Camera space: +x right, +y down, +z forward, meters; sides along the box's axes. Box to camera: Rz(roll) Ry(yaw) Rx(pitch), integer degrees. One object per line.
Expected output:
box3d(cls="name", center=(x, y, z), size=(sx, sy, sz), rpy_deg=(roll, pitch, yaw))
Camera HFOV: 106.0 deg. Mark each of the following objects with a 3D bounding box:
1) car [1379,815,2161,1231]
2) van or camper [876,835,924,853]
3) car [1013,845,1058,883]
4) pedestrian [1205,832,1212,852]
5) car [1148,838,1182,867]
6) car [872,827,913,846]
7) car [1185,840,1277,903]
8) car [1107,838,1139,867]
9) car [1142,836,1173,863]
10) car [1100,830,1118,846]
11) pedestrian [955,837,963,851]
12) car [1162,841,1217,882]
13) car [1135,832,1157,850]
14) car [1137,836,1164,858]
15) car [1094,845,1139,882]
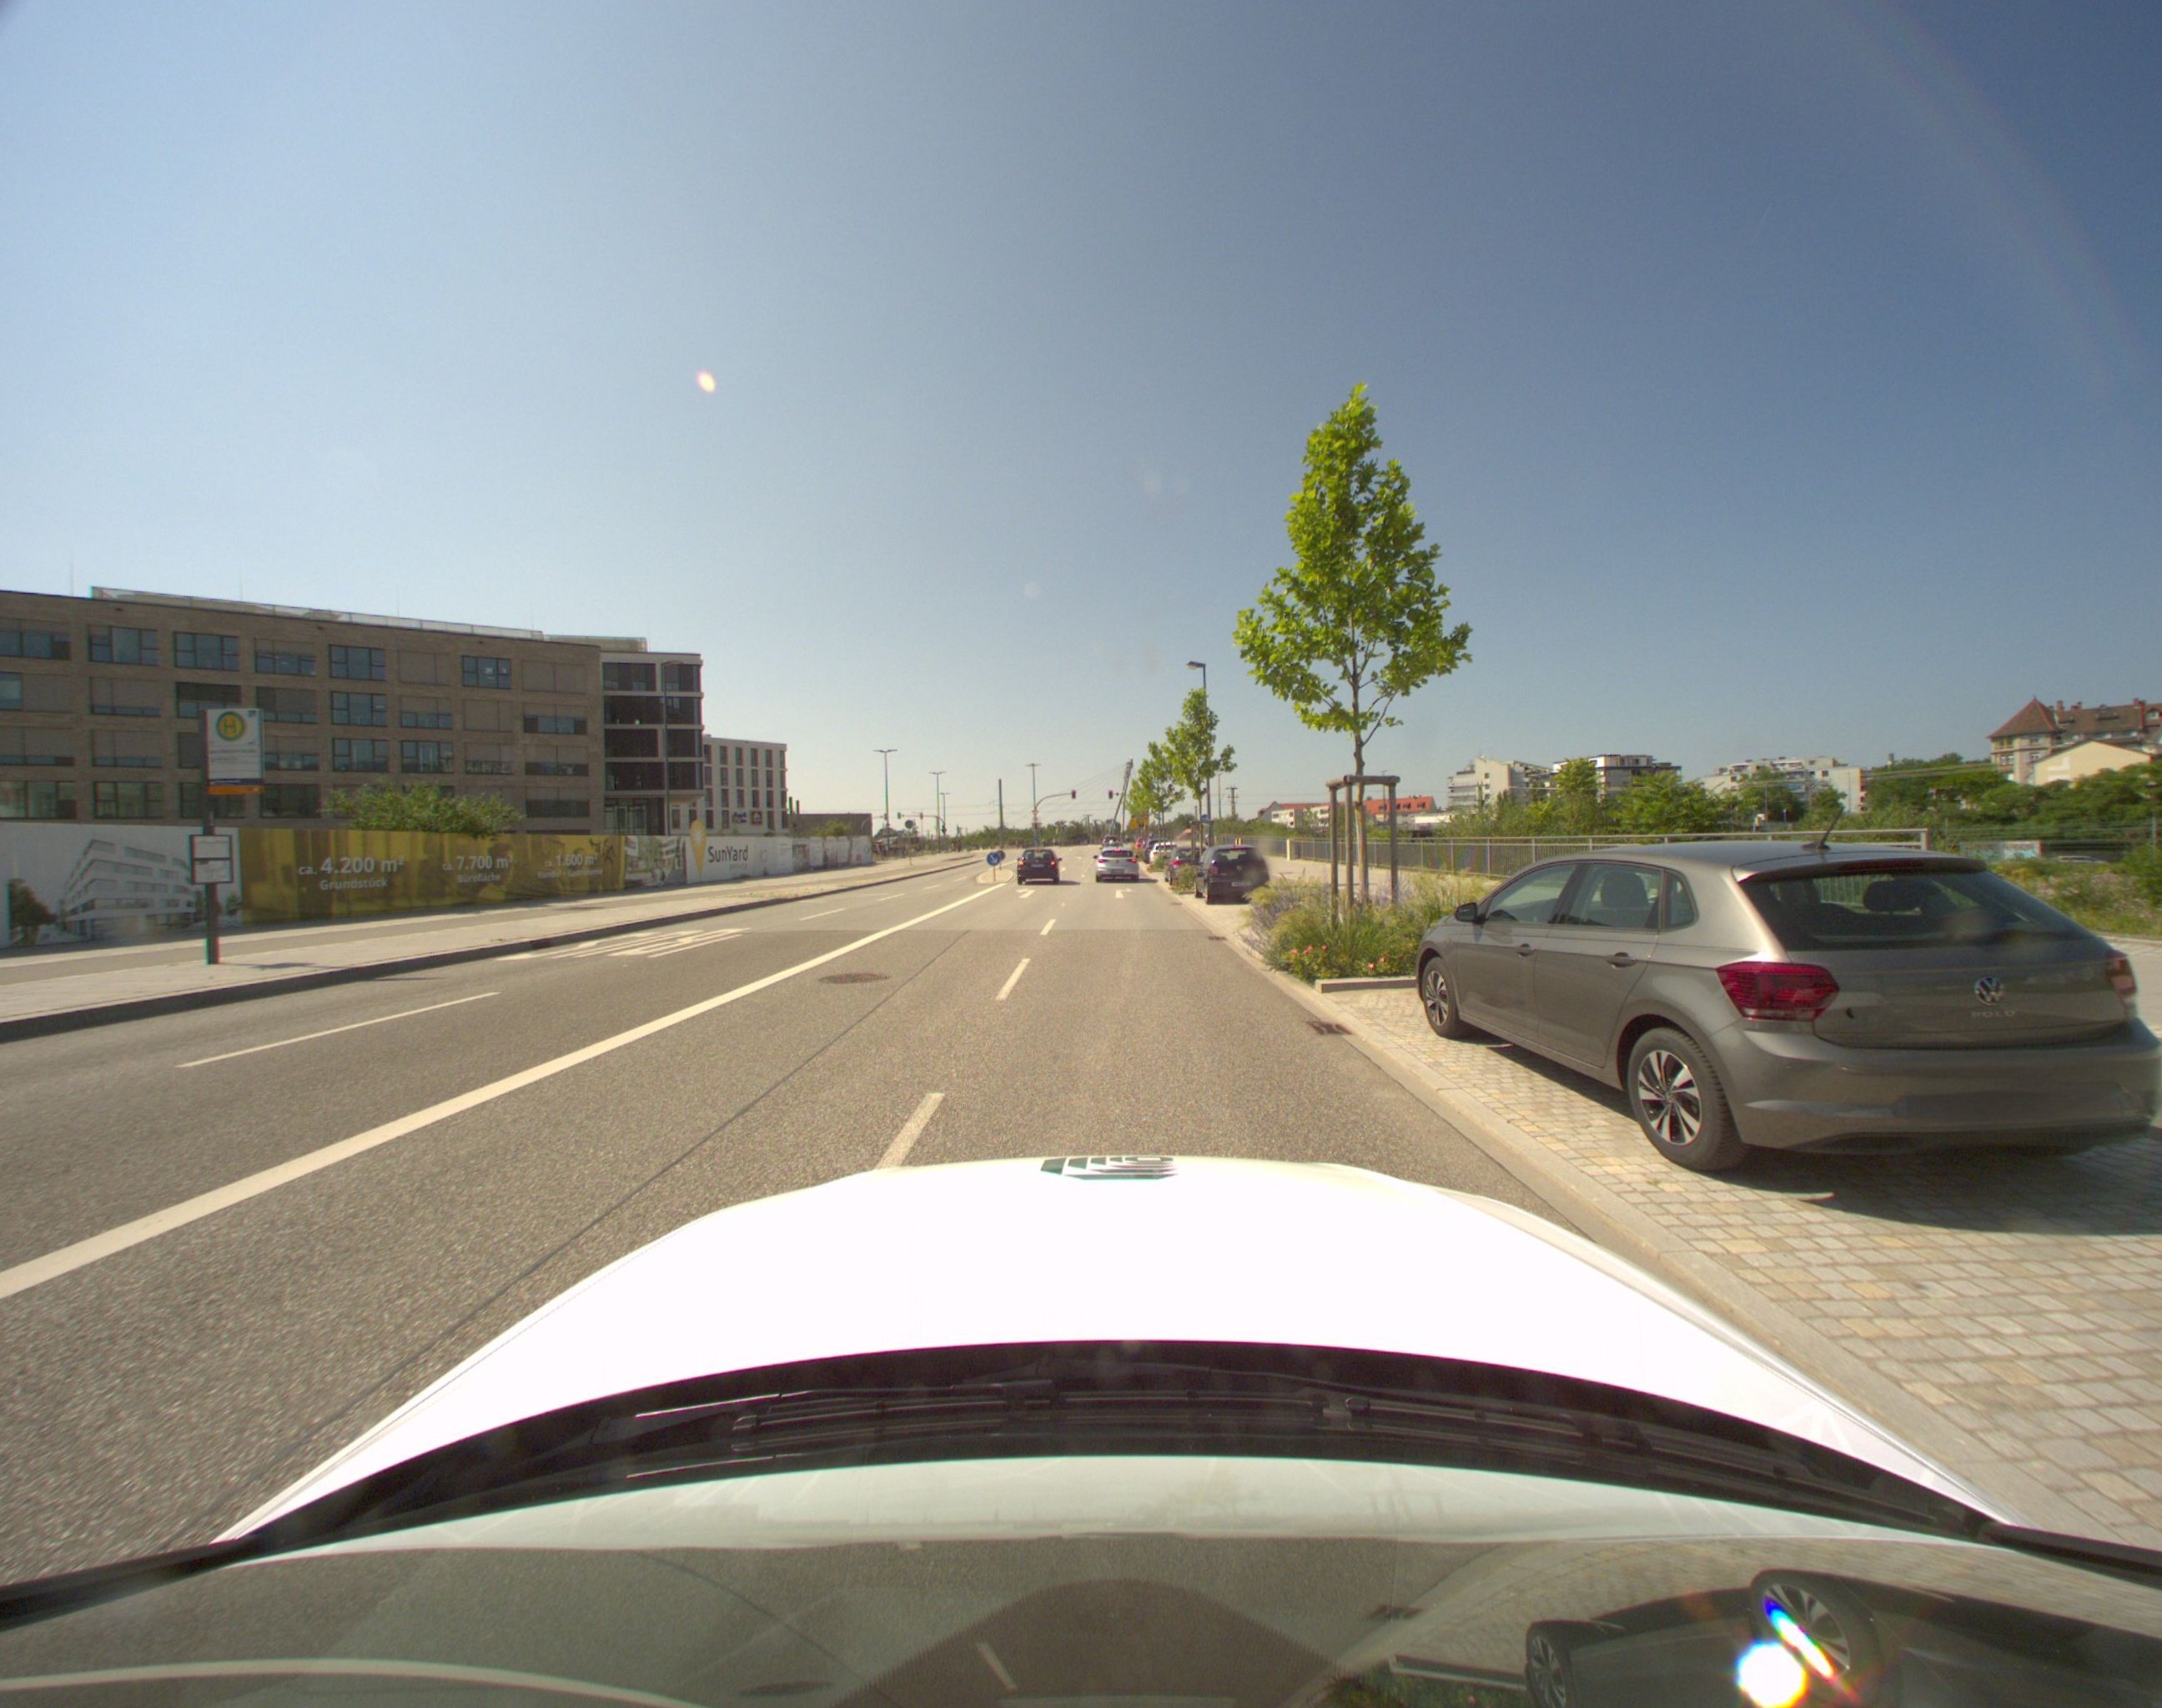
box3d(cls="car", center=(3.433, 0.601, 5.002), size=(1.699, 1.462, 3.953), rpy_deg=(-3, 1, 0))
box3d(cls="van or camper", center=(-19.603, -1.049, 88.355), size=(1.975, 1.897, 4.745), rpy_deg=(-1, -1, 45))
box3d(cls="car", center=(-1.787, 0.380, 33.210), size=(1.614, 1.416, 3.726), rpy_deg=(-1, 1, 0))
box3d(cls="pedestrian", center=(10.498, -0.977, 67.113), size=(0.531, 1.575, 0.524), rpy_deg=(0, -1, 2))
box3d(cls="car", center=(4.809, -0.125, 46.988), size=(1.690, 1.475, 4.208), rpy_deg=(-3, 1, 3))
box3d(cls="car", center=(-21.380, -1.986, 92.452), size=(1.974, 2.013, 4.025), rpy_deg=(0, 1, 41))
box3d(cls="car", center=(3.966, 0.438, 22.093), size=(1.699, 1.462, 3.953), rpy_deg=(-3, 0, 0))
box3d(cls="car", center=(2.501, -0.106, 48.923), size=(1.771, 1.568, 4.003), rpy_deg=(-2, 2, 2))
box3d(cls="car", center=(5.028, -0.350, 53.647), size=(1.814, 1.616, 3.615), rpy_deg=(-3, 1, 3))
box3d(cls="car", center=(2.945, -1.654, 84.645), size=(1.771, 1.568, 4.003), rpy_deg=(-2, 2, 2))
box3d(cls="pedestrian", center=(-14.964, -1.260, 100.215), size=(0.842, 1.646, 0.827), rpy_deg=(-1, 1, -3))
box3d(cls="car", center=(4.123, 0.256, 31.474), size=(1.697, 1.401, 4.273), rpy_deg=(-3, 0, 3))
box3d(cls="car", center=(5.683, -1.128, 71.702), size=(1.771, 1.503, 4.003), rpy_deg=(-2, 1, 2))
box3d(cls="car", center=(5.394, -0.563, 63.262), size=(1.771, 1.503, 4.003), rpy_deg=(-6, 1, 2))
box3d(cls="car", center=(1.524, 0.360, 34.681), size=(1.771, 1.442, 4.003), rpy_deg=(-1, 1, 2))
